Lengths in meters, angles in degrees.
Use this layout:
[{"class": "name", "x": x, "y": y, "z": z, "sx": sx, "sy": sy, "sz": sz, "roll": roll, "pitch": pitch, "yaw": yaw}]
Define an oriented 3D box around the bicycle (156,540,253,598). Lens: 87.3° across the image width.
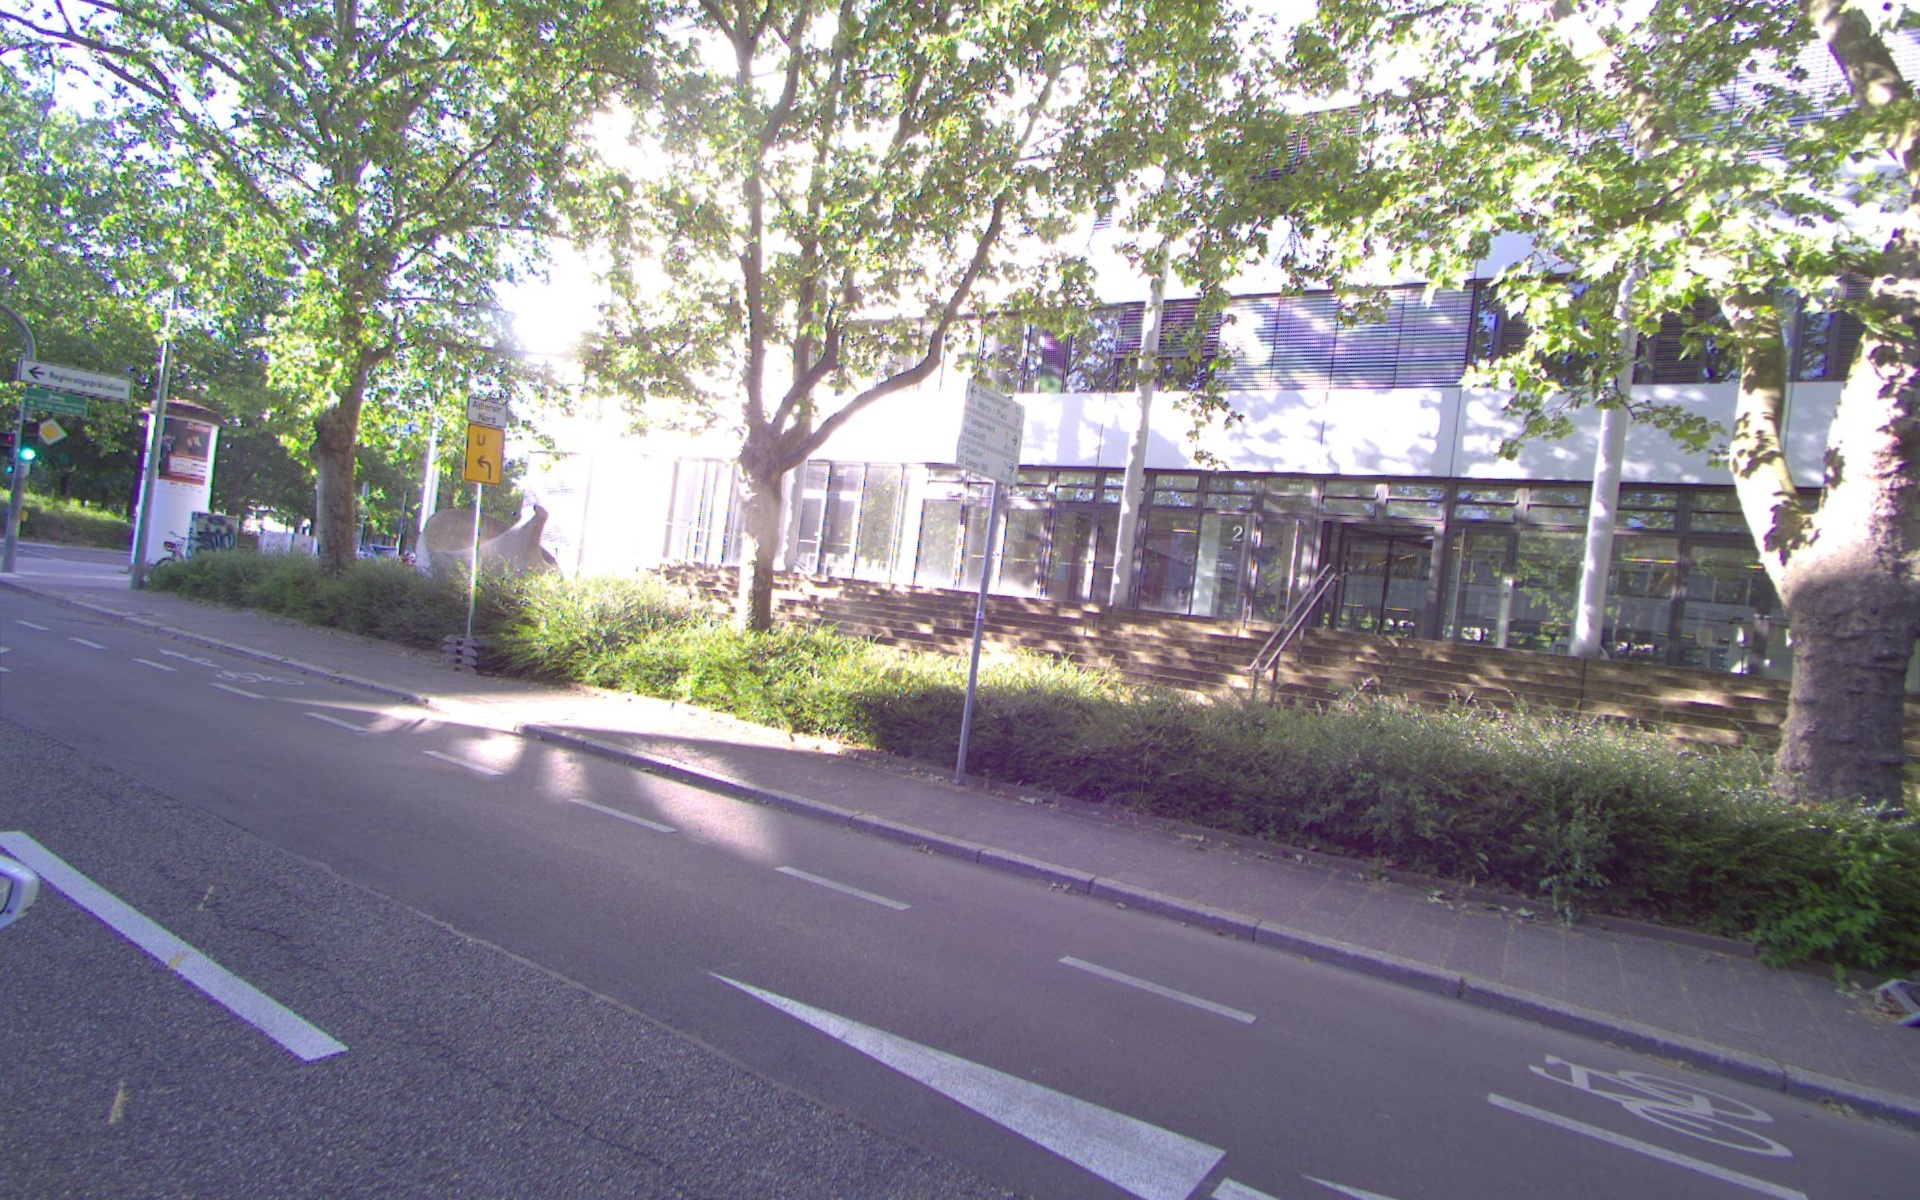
[{"class": "bicycle", "x": -15.918, "y": -0.636, "z": 21.254, "sx": 0.631, "sy": 1.040, "sz": 1.887, "roll": 7, "pitch": -2, "yaw": -5}]
